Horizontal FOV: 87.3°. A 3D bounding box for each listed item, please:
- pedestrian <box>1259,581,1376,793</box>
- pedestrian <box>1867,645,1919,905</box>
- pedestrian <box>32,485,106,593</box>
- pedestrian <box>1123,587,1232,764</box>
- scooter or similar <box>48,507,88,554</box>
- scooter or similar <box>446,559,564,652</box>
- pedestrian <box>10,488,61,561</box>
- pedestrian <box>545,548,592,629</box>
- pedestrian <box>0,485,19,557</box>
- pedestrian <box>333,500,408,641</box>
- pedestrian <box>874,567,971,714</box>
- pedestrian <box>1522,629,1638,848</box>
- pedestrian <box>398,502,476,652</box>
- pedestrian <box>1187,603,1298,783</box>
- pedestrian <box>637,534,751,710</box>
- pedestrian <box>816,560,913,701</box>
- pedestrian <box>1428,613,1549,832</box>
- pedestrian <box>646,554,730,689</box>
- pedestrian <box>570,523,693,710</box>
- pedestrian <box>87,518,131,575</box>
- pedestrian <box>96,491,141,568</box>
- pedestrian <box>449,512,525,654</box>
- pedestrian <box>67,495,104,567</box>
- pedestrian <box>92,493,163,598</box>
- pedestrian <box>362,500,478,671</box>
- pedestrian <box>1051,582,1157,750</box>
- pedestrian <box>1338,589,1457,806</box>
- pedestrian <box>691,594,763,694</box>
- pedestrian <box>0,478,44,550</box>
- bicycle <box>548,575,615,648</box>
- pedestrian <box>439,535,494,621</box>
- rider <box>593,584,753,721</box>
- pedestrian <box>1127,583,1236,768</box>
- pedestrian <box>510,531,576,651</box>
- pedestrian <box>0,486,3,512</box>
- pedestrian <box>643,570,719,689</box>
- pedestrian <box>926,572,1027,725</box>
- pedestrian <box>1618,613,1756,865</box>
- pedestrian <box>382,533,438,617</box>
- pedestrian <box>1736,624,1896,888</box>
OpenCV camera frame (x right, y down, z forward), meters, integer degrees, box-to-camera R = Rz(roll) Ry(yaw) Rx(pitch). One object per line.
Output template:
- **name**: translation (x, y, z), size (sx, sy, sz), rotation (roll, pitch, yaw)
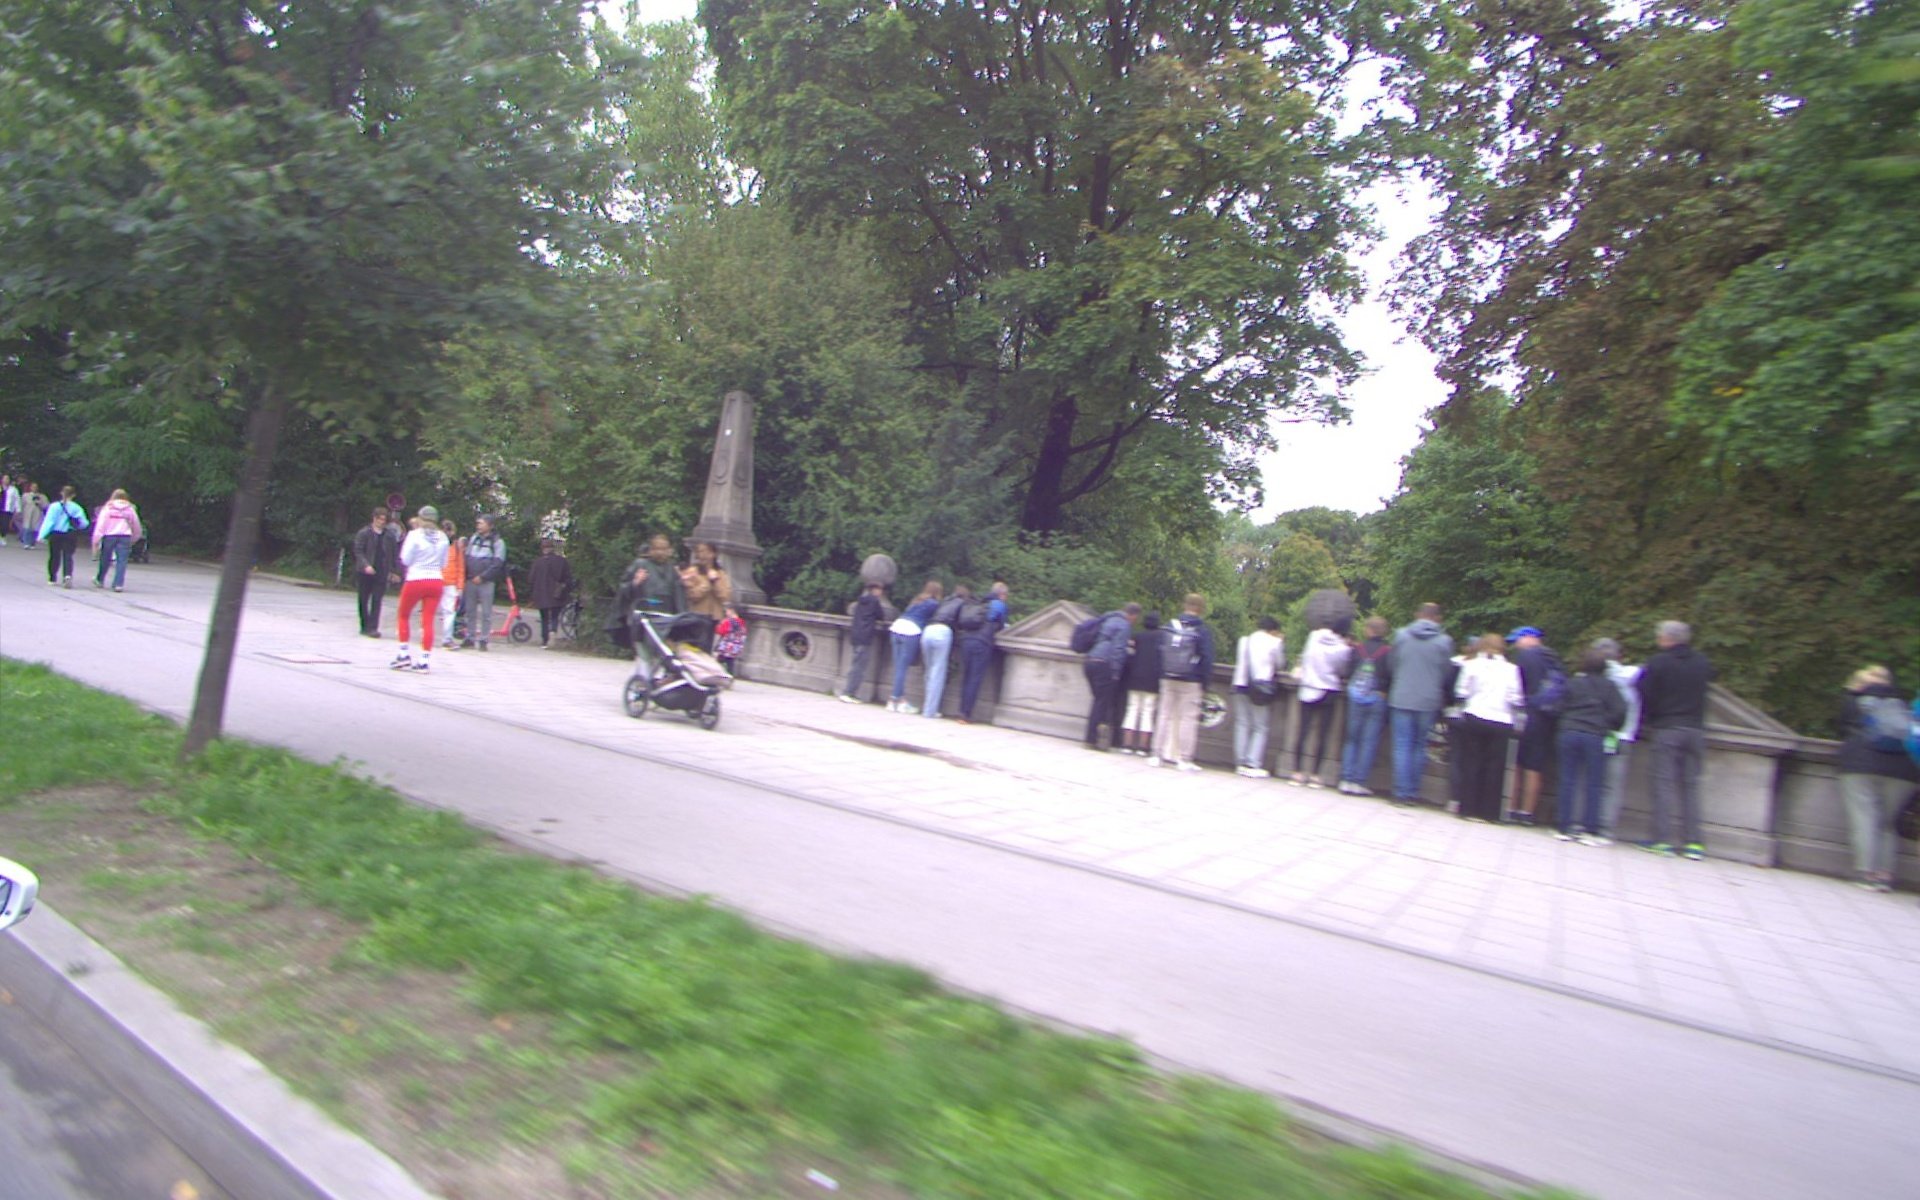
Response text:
- **pedestrian**: translation (3.532, 0.846, 9.924), size (0.717, 1.939, 0.813), rotation (6, -1, 34)
- **pedestrian**: translation (7.105, 1.270, 7.163), size (0.717, 1.788, 0.813), rotation (6, -1, 34)
- **pedestrian**: translation (-14.824, -1.010, 16.749), size (0.752, 1.663, 0.840), rotation (7, -1, -42)
- **pedestrian**: translation (2.334, 0.805, 10.759), size (0.717, 1.759, 0.813), rotation (6, -1, 34)
- **scooter or similar**: translation (-24.913, -1.936, 28.082), size (1.199, 1.213, 0.418), rotation (6, -1, 33)
- **scooter or similar**: translation (-7.122, 0.095, 15.784), size (1.549, 1.271, 0.346), rotation (8, -1, -28)
- **pedestrian**: translation (-22.636, -1.843, 24.644), size (0.752, 1.663, 0.682), rotation (7, -1, -43)
- **pedestrian**: translation (-8.725, -0.252, 22.453), size (0.600, 1.716, 0.693), rotation (7, -1, -3)
- **pedestrian**: translation (-23.080, -1.922, 24.008), size (0.752, 1.663, 0.643), rotation (7, -1, -43)
- **pedestrian**: translation (-8.344, -0.416, 14.229), size (0.607, 1.895, 0.685), rotation (7, -1, -41)
- **pedestrian**: translation (-0.458, 0.498, 12.482), size (0.717, 1.712, 0.812), rotation (6, 1, 34)
- **pedestrian**: translation (5.333, 1.160, 8.640), size (0.663, 1.710, 0.813), rotation (6, -1, 34)
- **pedestrian**: translation (-7.125, -0.310, 13.699), size (0.607, 1.937, 0.685), rotation (7, -1, -41)
- **pedestrian**: translation (2.917, 0.951, 10.362), size (0.717, 1.710, 0.813), rotation (6, -1, 34)
- **pedestrian**: translation (-2.746, 0.236, 10.406), size (0.638, 1.710, 0.726), rotation (6, -1, 37)
- **pedestrian**: translation (-1.234, 0.400, 13.058), size (0.717, 1.710, 0.813), rotation (6, -1, 34)
- **pedestrian**: translation (4.777, 1.081, 9.082), size (0.717, 1.811, 0.813), rotation (6, -1, 34)
- **pedestrian**: translation (-3.302, 0.258, 12.211), size (0.638, 1.545, 0.549), rotation (6, -1, 37)
- **pedestrian**: translation (-3.198, 0.166, 9.804), size (0.638, 1.710, 0.726), rotation (6, -1, 37)
- **pedestrian**: translation (-18.652, -1.172, 22.050), size (0.629, 1.150, 0.566), rotation (8, -1, -43)
- **pedestrian**: translation (-19.652, -1.637, 23.499), size (0.629, 1.686, 0.566), rotation (7, -1, -43)
- **pedestrian**: translation (-6.648, -0.240, 14.134), size (0.607, 1.895, 0.685), rotation (7, -1, -41)
- **pedestrian**: translation (-20.165, -1.590, 23.197), size (0.483, 1.584, 0.566), rotation (7, -1, -42)
- **pedestrian**: translation (-14.293, -0.925, 17.260), size (0.752, 1.663, 0.840), rotation (7, -1, -42)
- **pedestrian**: translation (-5.747, -0.150, 10.719), size (0.638, 1.710, 0.726), rotation (6, -1, 37)
- **pedestrian**: translation (1.582, 0.713, 11.032), size (0.717, 1.712, 0.812), rotation (6, 1, 34)
- **pedestrian**: translation (4.150, 0.908, 9.519), size (0.717, 1.896, 0.813), rotation (6, -1, 34)
- **pedestrian**: translation (-2.932, 0.556, 12.678), size (0.638, 1.166, 0.458), rotation (6, -1, 37)
- **pedestrian**: translation (-25.487, -2.328, 27.291), size (0.836, 1.844, 0.589), rotation (6, -1, 33)
- **bicycle**: translation (-6.996, 0.240, 18.654), size (0.384, 1.254, 1.601), rotation (7, -2, 5)
- **pedestrian**: translation (-10.104, -0.440, 20.617), size (0.600, 1.671, 0.693), rotation (7, -1, -1)
- **rider**: translation (-2.728, 0.495, 9.546), size (1.225, 1.125, 0.765), rotation (6, -2, 37)
- **pedestrian**: translation (2.204, 0.743, 10.016), size (0.717, 1.710, 0.592), rotation (6, -1, 35)
- **pedestrian**: translation (-6.913, -0.131, 16.699), size (0.600, 1.895, 0.693), rotation (7, -1, -3)
- **pedestrian**: translation (-31.570, -2.922, 32.437), size (0.651, 1.657, 0.683), rotation (6, -1, 21)
- **pedestrian**: translation (-3.368, 0.356, 12.151), size (0.638, 1.342, 0.458), rotation (6, -1, 37)
- **pedestrian**: translation (0.203, 0.582, 12.079), size (0.717, 1.711, 0.812), rotation (6, 0, 34)
- **pedestrian**: translation (5.900, 1.102, 8.210), size (0.717, 1.873, 0.813), rotation (6, -1, 34)
- **pedestrian**: translation (-11.182, -0.491, 20.469), size (0.600, 1.596, 0.693), rotation (7, -1, -3)
- **pedestrian**: translation (6.684, 1.186, 7.904), size (0.717, 1.873, 0.813), rotation (6, -1, 34)
